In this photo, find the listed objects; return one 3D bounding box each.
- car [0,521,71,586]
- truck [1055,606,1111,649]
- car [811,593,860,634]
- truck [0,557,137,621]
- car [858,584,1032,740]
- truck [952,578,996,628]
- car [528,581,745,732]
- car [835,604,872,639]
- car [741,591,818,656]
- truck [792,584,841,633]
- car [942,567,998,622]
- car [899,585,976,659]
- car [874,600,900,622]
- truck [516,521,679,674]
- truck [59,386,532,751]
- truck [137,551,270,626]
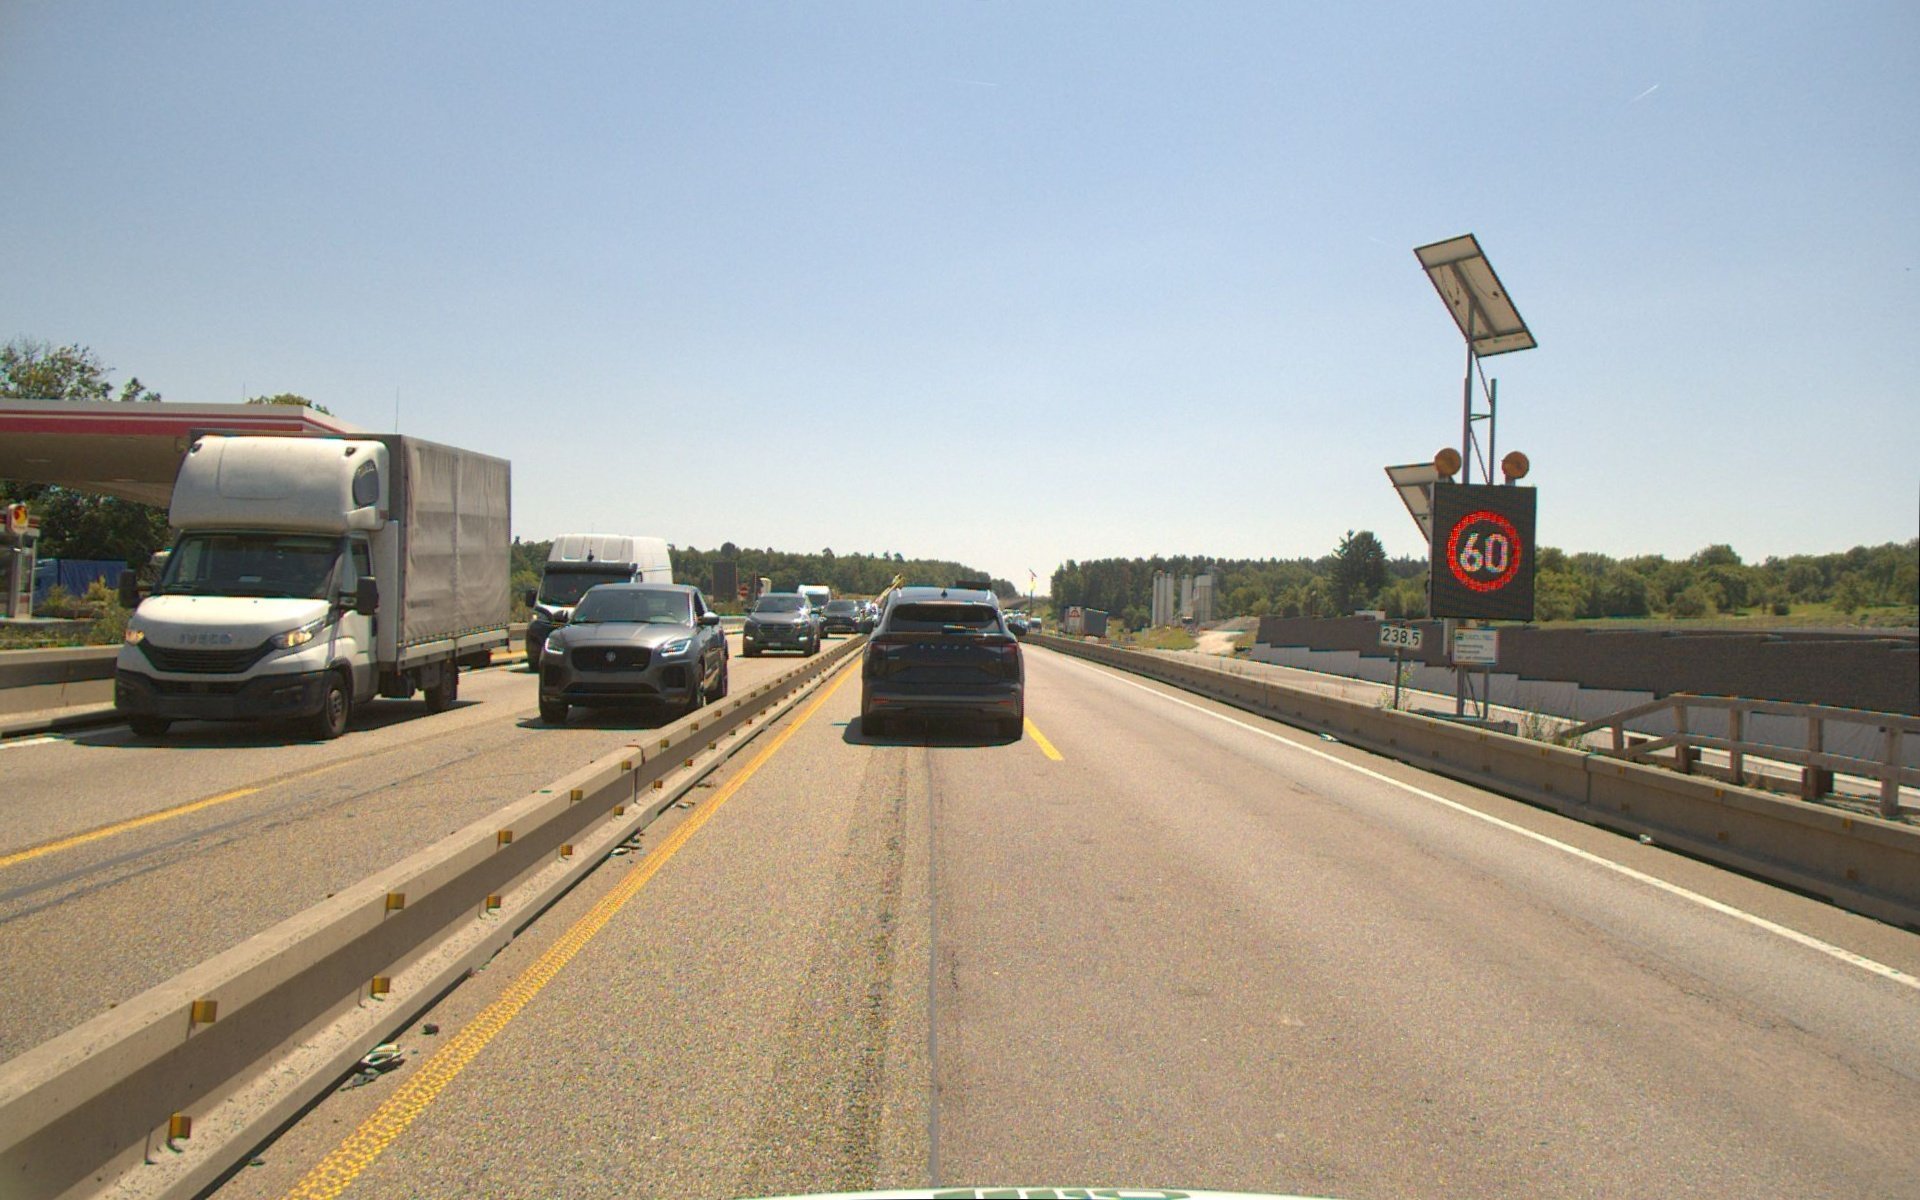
[{"bbox_3d":[-26.169,-1.310,44.681,1.720,1.432,4.315,14,0,0],"label":"car"},{"bbox_3d":[14.730,3.362,197.201,3.407,4.292,10.375,7,-1,21],"label":"truck"},{"bbox_3d":[-5.309,0.569,70.910,1.807,1.669,3.999,2,0,-1],"label":"car"},{"bbox_3d":[-46.429,-0.500,85.318,2.761,3.117,7.122,1,-1,20],"label":"truck"},{"bbox_3d":[-0.173,0.642,19.192,1.805,1.609,3.999,0,0,-1],"label":"car"},{"bbox_3d":[0.826,0.184,104.550,2.618,2.997,5.620,1,0,-1],"label":"truck"},{"bbox_3d":[-3.948,0.631,21.014,1.902,1.687,4.744,1,0,-1],"label":"car"},{"bbox_3d":[-5.982,1.195,93.526,1.869,1.836,5.080,1,0,-2],"label":"car"},{"bbox_3d":[-4.813,0.597,44.521,1.901,1.639,3.996,1,0,-5],"label":"car"},{"bbox_3d":[-8.766,0.573,102.061,2.429,2.874,8.126,1,-1,-1],"label":"truck"},{"bbox_3d":[0.940,-0.381,144.512,3.365,4.171,9.202,6,-1,7],"label":"car"},{"bbox_3d":[-0.666,0.624,46.360,1.954,1.876,3.998,3,-1,-3],"label":"car"},{"bbox_3d":[-5.495,0.824,125.074,1.866,1.637,3.999,2,0,-1],"label":"car"},{"bbox_3d":[-7.429,-0.054,34.623,2.194,2.835,6.489,1,0,-3],"label":"truck"},{"bbox_3d":[-7.263,-0.307,19.540,2.445,3.349,8.114,2,0,-2],"label":"truck"},{"bbox_3d":[-42.915,-0.606,94.012,3.088,4.055,6.341,0,-1,25],"label":"truck"}]
